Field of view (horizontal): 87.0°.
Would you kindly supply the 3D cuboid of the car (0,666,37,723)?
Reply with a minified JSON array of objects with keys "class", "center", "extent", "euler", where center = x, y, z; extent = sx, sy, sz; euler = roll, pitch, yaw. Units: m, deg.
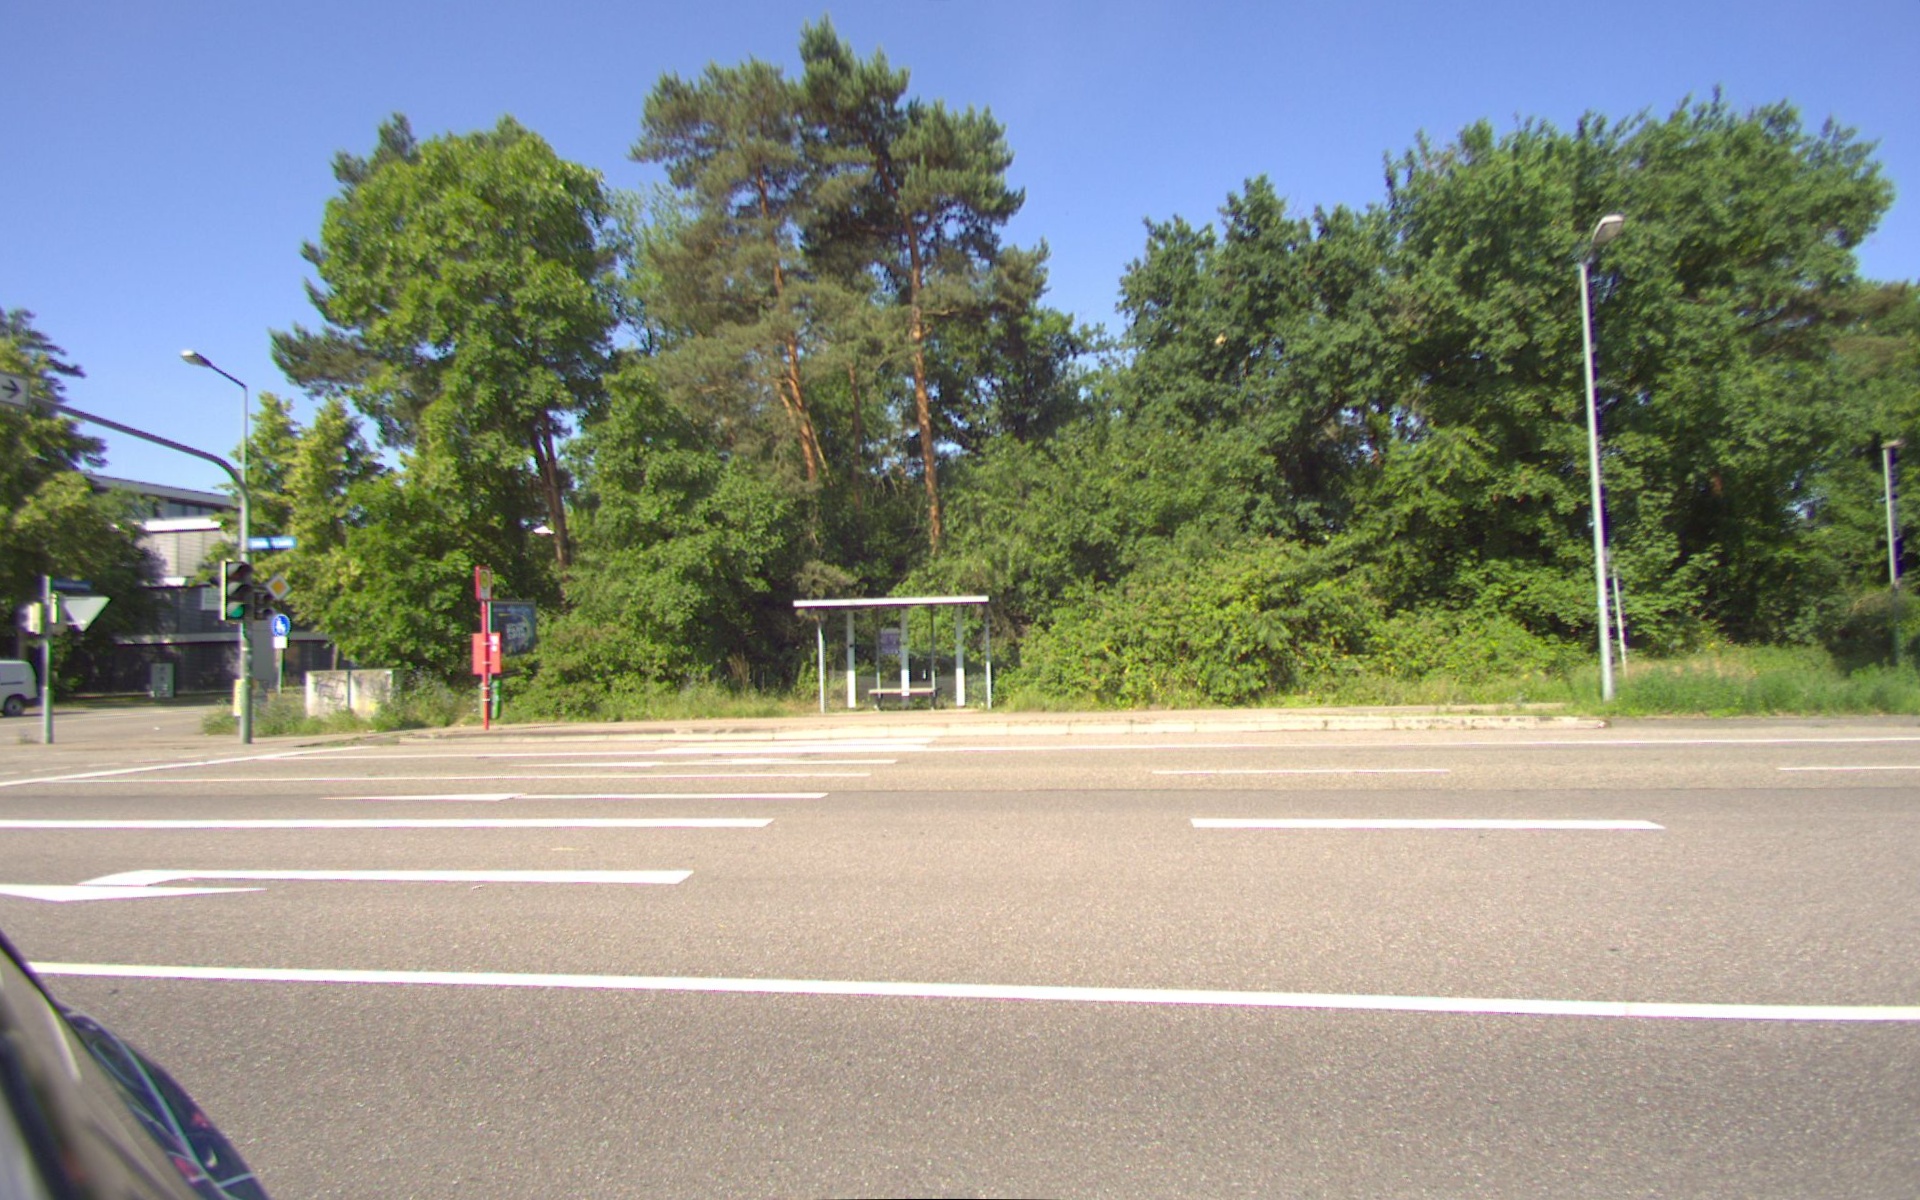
[{"class":"car","center":[-31.263,2.920,30.730],"extent":[1.831,1.791,4.649],"euler":[-1,-4,8]}]
